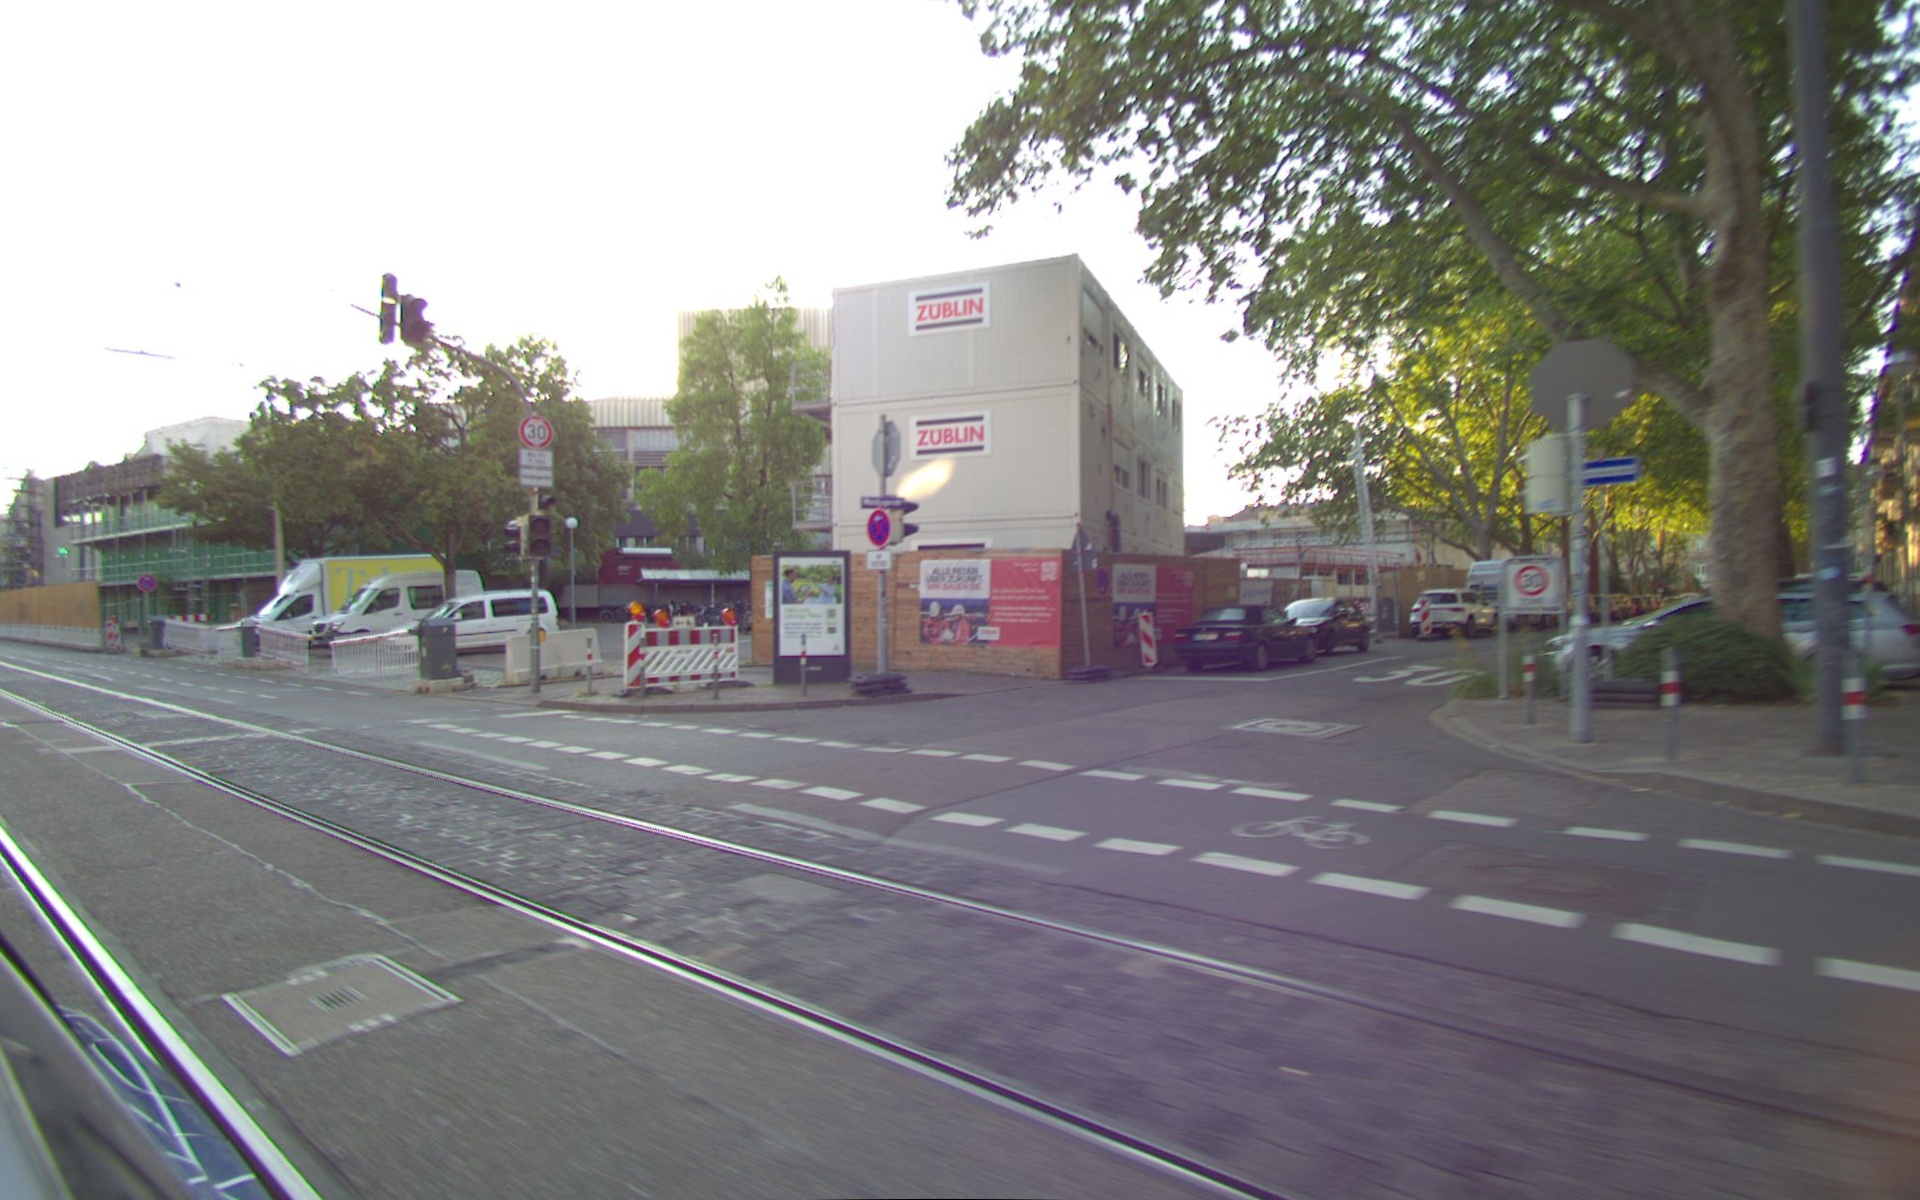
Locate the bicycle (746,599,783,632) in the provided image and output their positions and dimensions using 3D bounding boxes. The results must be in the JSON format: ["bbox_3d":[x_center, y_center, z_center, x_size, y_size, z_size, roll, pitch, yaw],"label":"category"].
[{"bbox_3d":[-8.436,0.674,43.558,0.535,1.379,1.978,-1,0,-45],"label":"bicycle"}]

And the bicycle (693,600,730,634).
[{"bbox_3d":[-10.233,0.709,41.633,0.535,1.379,1.978,-1,0,-45],"label":"bicycle"}]

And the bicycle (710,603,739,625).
[{"bbox_3d":[-12.945,0.766,55.565,0.798,1.191,2.271,-1,0,-32],"label":"bicycle"}]

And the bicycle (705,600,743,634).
[{"bbox_3d":[-9.813,0.701,42.065,0.535,1.379,1.978,-1,0,-45],"label":"bicycle"}]

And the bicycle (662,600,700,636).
[{"bbox_3d":[-11.231,0.729,40.671,0.535,1.379,1.978,-1,0,-45],"label":"bicycle"}]

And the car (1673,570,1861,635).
[{"bbox_3d":[23.332,0.109,29.360,4.092,1.626,1.734,-4,-2,42],"label":"car"}]

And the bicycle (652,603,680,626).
[{"bbox_3d":[-15.759,0.806,54.203,0.798,1.191,2.271,-1,0,-32],"label":"bicycle"}]

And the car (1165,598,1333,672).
[{"bbox_3d":[6.189,0.706,21.387,1.758,1.370,4.036,-4,-2,42],"label":"car"}]

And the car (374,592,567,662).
[{"bbox_3d":[-14.555,0.745,30.275,2.015,1.888,4.781,-2,0,42],"label":"car"}]

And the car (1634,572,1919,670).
[{"bbox_3d":[15.352,0.439,19.120,4.092,1.626,1.734,-4,-2,42],"label":"car"}]

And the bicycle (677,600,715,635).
[{"bbox_3d":[-10.758,0.720,41.221,0.535,1.379,1.978,-1,0,-45],"label":"bicycle"}]

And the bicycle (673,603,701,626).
[{"bbox_3d":[-14.735,0.780,54.679,0.798,1.191,2.271,-1,0,-32],"label":"bicycle"}]

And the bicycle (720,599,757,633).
[{"bbox_3d":[-9.319,0.685,42.531,0.535,1.379,1.978,-1,0,-45],"label":"bicycle"}]

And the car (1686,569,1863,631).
[{"bbox_3d":[25.089,0.031,31.247,4.092,1.626,1.734,-4,-2,42],"label":"car"}]

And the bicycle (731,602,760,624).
[{"bbox_3d":[-11.866,0.728,55.920,0.798,1.191,2.271,-1,0,-32],"label":"bicycle"}]

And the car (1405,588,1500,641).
[{"bbox_3d":[16.618,0.461,34.041,1.758,1.638,4.036,-4,-2,42],"label":"car"}]

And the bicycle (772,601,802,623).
[{"bbox_3d":[-9.746,0.685,56.968,0.798,1.191,2.271,-1,0,-32],"label":"bicycle"}]

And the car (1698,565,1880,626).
[{"bbox_3d":[30.030,-0.112,36.803,4.923,1.893,1.734,-4,-2,42],"label":"car"}]

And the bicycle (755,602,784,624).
[{"bbox_3d":[-10.714,0.719,56.831,0.798,1.191,2.271,-1,0,-32],"label":"bicycle"}]

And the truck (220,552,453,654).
[{"bbox_3d":[-23.223,0.088,38.063,2.562,3.454,6.991,-2,0,38],"label":"truck"}]

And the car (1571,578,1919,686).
[{"bbox_3d":[11.557,0.477,14.527,4.473,1.370,1.734,-4,-2,42],"label":"car"}]

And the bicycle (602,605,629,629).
[{"bbox_3d":[-18.105,0.882,53.169,0.798,1.191,2.271,-1,0,-32],"label":"bicycle"}]

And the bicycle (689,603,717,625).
[{"bbox_3d":[-14.004,0.768,55.186,0.798,1.191,2.271,-1,0,-32],"label":"bicycle"}]

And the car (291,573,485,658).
[{"bbox_3d":[-19.015,0.479,33.881,2.226,2.617,5.170,-2,0,37],"label":"car"}]

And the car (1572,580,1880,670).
[{"bbox_3d":[13.294,0.471,17.731,4.092,1.370,1.734,-4,-2,42],"label":"car"}]

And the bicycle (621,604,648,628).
[{"bbox_3d":[-17.181,0.851,53.445,0.798,1.191,2.271,-1,0,-32],"label":"bicycle"}]

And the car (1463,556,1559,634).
[{"bbox_3d":[21.345,-0.199,39.093,2.025,2.742,4.951,-4,-2,42],"label":"car"}]

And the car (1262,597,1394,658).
[{"bbox_3d":[9.562,0.679,26.149,1.758,1.370,4.036,-4,-2,42],"label":"car"}]
